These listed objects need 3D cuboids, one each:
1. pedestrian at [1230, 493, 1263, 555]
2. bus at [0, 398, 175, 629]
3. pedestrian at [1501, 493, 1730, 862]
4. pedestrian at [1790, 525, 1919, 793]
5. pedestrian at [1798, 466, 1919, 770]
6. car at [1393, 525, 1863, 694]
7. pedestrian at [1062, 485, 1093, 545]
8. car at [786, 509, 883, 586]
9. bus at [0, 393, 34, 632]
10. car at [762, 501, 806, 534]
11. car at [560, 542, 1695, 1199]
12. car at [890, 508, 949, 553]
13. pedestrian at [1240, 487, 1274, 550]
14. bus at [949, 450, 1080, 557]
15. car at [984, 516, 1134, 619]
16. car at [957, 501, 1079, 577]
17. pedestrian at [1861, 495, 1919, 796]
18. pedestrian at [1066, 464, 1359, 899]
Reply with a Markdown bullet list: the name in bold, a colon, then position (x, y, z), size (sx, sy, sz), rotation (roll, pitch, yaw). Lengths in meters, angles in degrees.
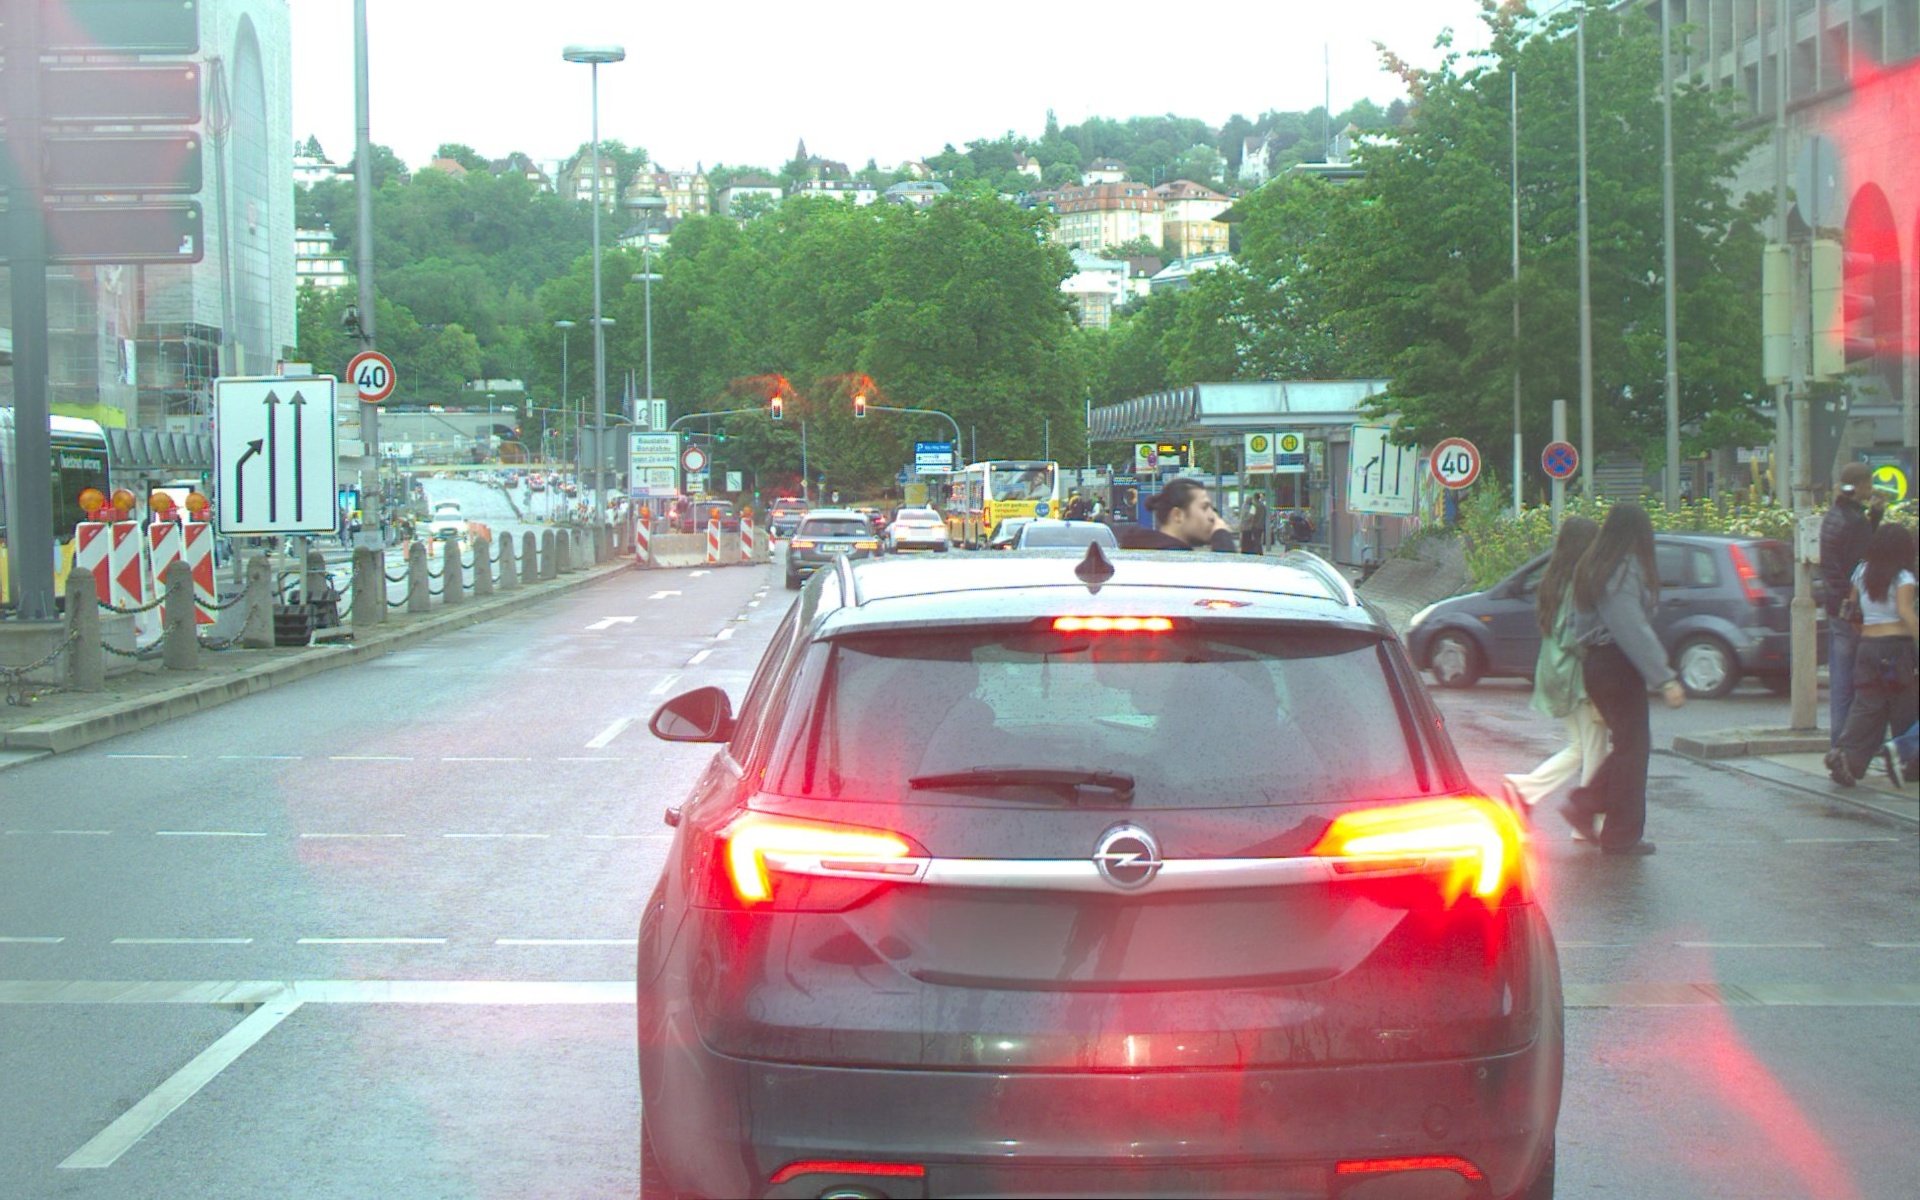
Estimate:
- **pedestrian**: position (7.929, -2.100, 95.288), size (0.763, 1.684, 0.825), rotation (1, 1, -5)
- **bus**: position (-15.859, -1.433, 58.609), size (2.668, 3.589, 10.212), rotation (1, 1, -1)
- **pedestrian**: position (2.969, 0.339, 15.641), size (0.793, 1.620, 0.900), rotation (1, 1, -4)
- **pedestrian**: position (5.021, 0.325, 19.125), size (0.678, 1.469, 0.366), rotation (1, 1, -5)
- **pedestrian**: position (5.254, 0.102, 19.688), size (0.755, 1.711, 0.466), rotation (1, 1, -4)
- **car**: position (5.931, 0.050, 30.668), size (3.663, 1.393, 1.847), rotation (1, 1, 39)
- **pedestrian**: position (4.833, -3.484, 141.616), size (1.199, 2.427, 1.228), rotation (1, 1, 1)
- **car**: position (-2.387, -0.997, 65.580), size (1.753, 1.393, 4.538), rotation (1, 1, -2)
- **bus**: position (-15.732, -1.291, 48.424), size (2.668, 3.589, 10.240), rotation (1, 1, -1)
- **car**: position (-7.660, -3.600, 150.079), size (1.759, 1.393, 3.564), rotation (1, 1, -1)
- **car**: position (0.239, 0.629, 7.722), size (1.874, 1.481, 4.000), rotation (1, 1, -1)
- **car**: position (-1.293, -2.217, 110.697), size (1.845, 1.393, 3.564), rotation (1, 1, -1)
- **pedestrian**: position (8.139, -2.230, 94.190), size (0.763, 1.684, 0.825), rotation (1, 1, -5)
- **bus**: position (1.779, -3.290, 120.947), size (4.173, 3.457, 14.655), rotation (1, 1, -1)
- **car**: position (1.384, -0.486, 49.772), size (1.753, 1.393, 4.649), rotation (1, 1, -3)
- **car**: position (1.084, -1.166, 66.462), size (1.753, 1.393, 4.403), rotation (1, 1, -7)
- **pedestrian**: position (5.383, 0.242, 18.610), size (0.799, 1.603, 0.620), rotation (1, 1, -4)
- **pedestrian**: position (1.051, 0.330, 14.470), size (1.096, 1.745, 0.654), rotation (-2, 1, -3)
